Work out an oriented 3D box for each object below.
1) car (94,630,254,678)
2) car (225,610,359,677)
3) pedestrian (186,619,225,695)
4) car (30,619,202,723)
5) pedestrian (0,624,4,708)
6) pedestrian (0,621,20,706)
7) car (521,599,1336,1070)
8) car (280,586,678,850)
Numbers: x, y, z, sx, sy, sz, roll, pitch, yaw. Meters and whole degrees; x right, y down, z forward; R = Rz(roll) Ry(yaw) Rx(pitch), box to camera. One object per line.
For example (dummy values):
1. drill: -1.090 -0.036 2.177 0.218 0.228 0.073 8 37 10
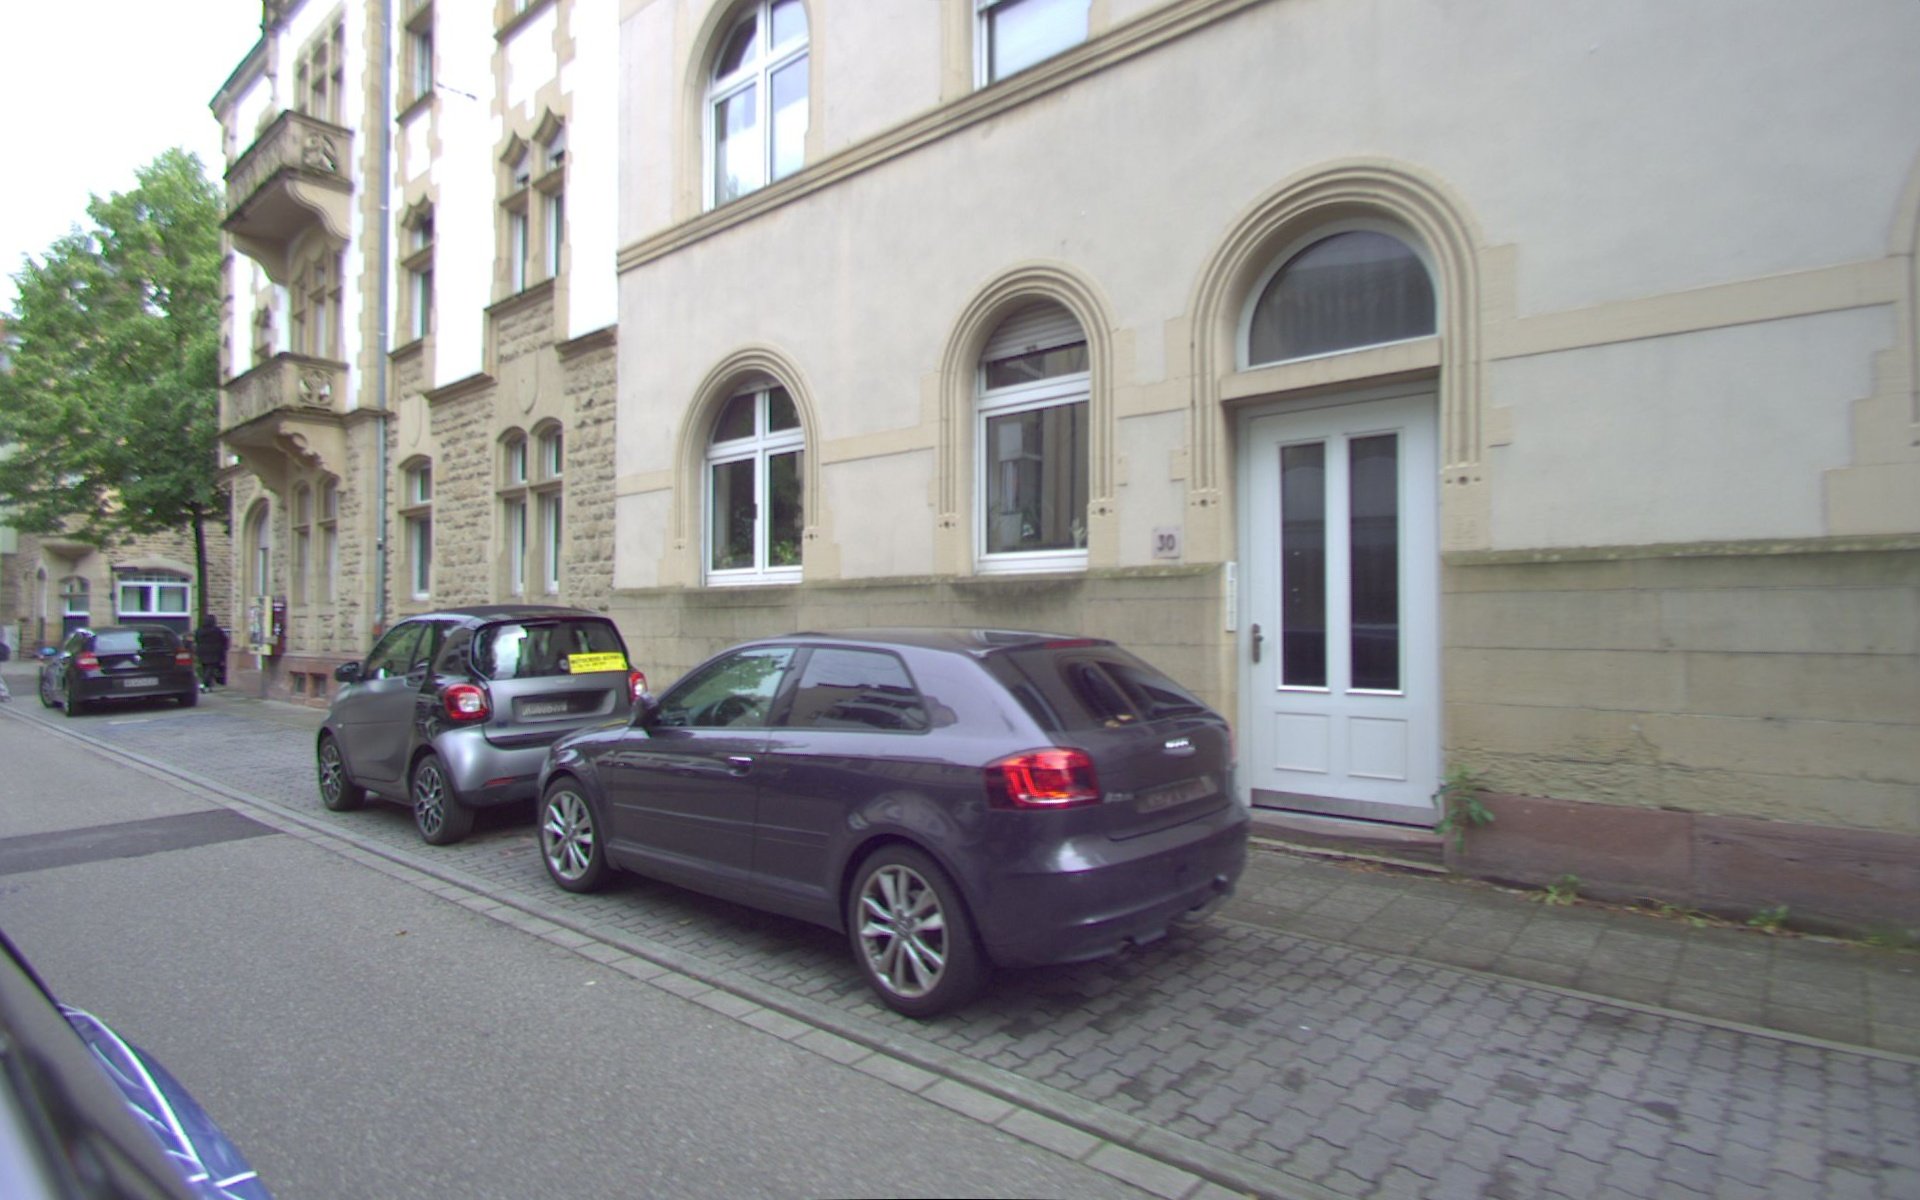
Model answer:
1. car: -27.156 1.825 35.054 4.220 1.477 1.665 2 1 -43
2. car: -20.771 1.328 31.434 3.943 1.983 1.816 -1 -2 28
3. pedestrian: -15.465 1.164 20.748 0.546 1.530 0.510 -2 -3 41
4. car: -14.564 1.142 17.388 3.999 1.506 1.691 -2 1 42
5. pedestrian: -18.475 1.246 18.909 0.621 1.606 0.671 -1 -2 -8
6. pedestrian: -18.865 1.242 19.809 0.608 1.656 0.605 0 -2 -37
7. car: -0.430 0.781 4.987 3.928 1.397 1.707 -2 -3 42
8. car: -3.757 0.768 7.773 2.954 1.582 1.630 -3 0 40
